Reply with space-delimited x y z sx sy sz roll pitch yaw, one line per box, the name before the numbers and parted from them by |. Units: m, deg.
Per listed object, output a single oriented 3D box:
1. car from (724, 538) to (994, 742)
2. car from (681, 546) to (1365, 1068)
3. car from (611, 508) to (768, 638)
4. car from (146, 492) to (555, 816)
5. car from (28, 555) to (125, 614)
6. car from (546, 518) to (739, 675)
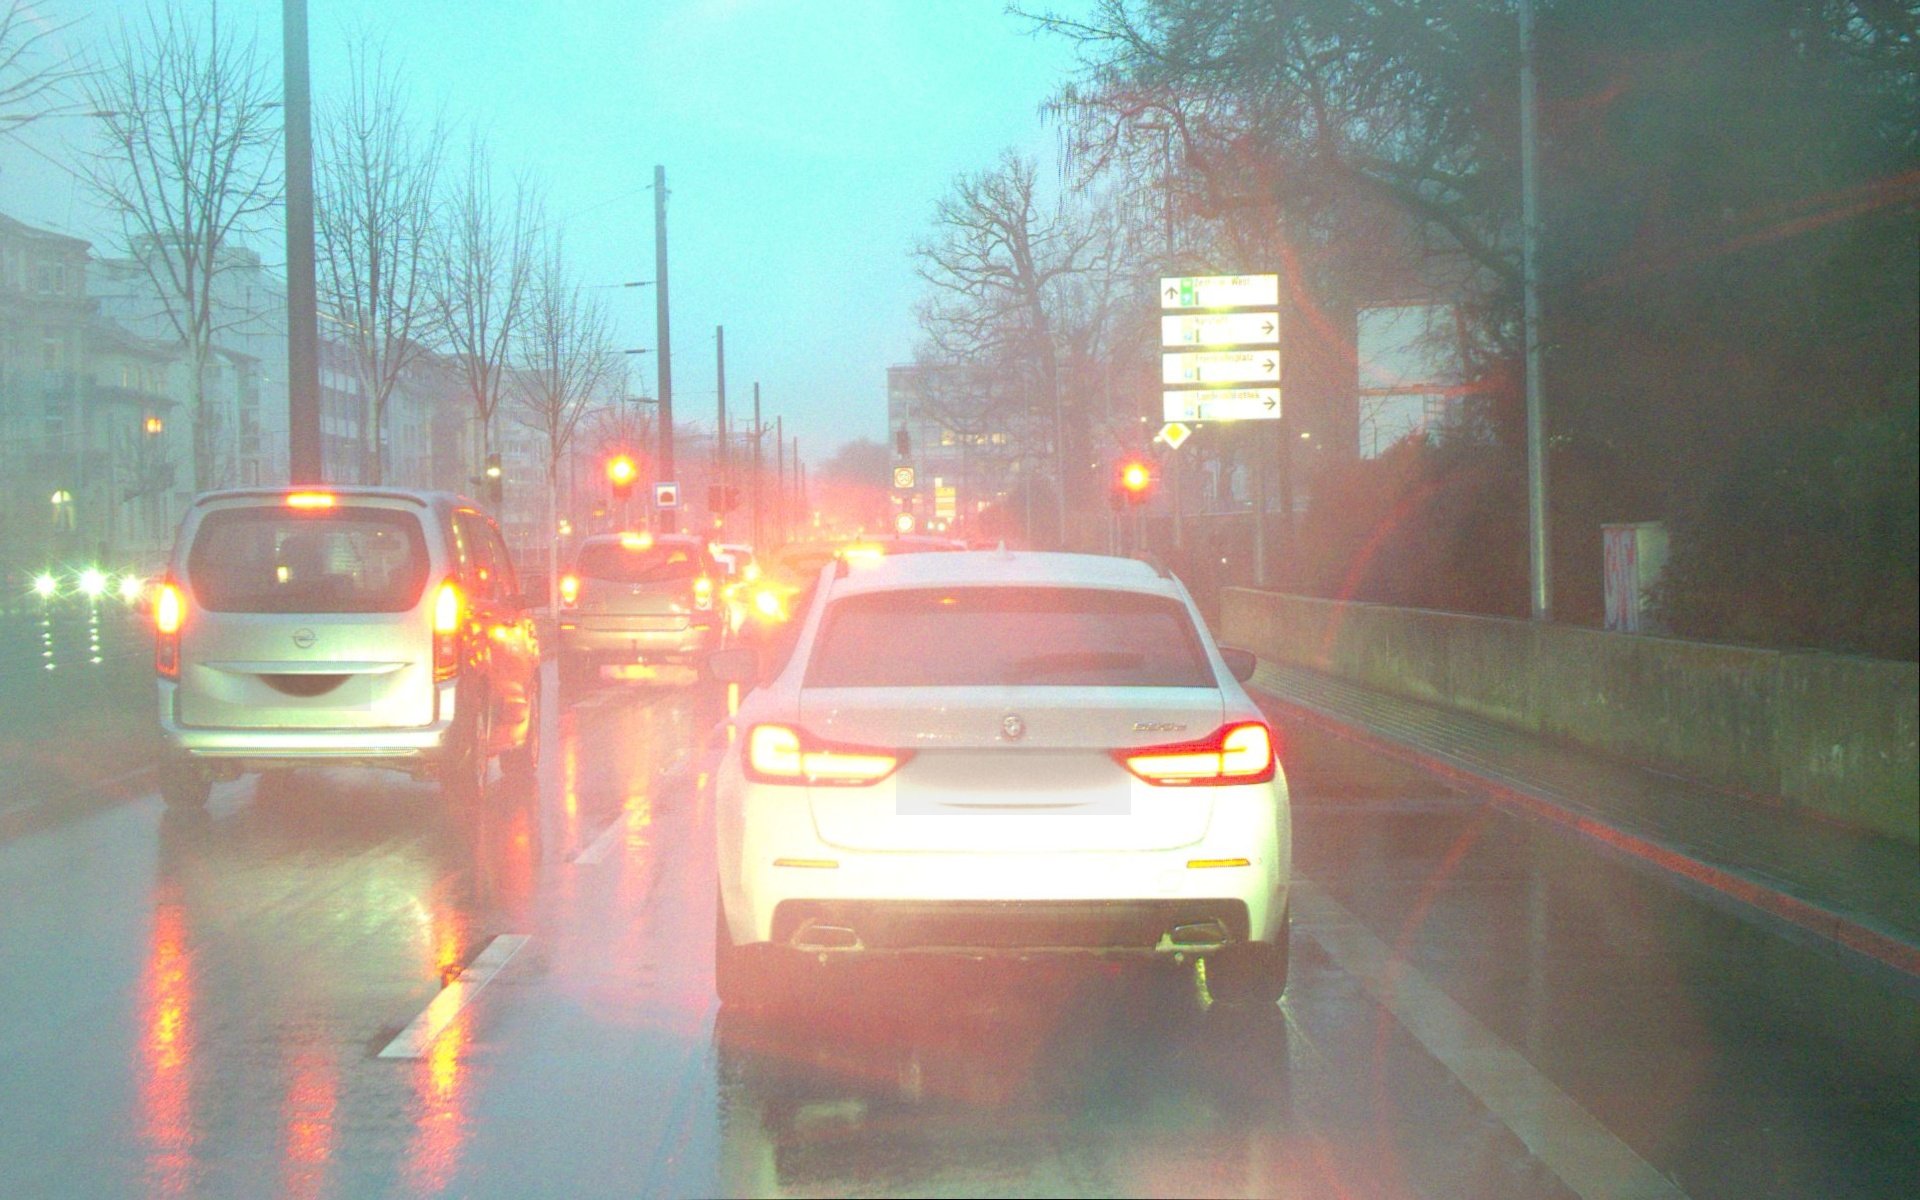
car | -0.754 0.249 26.800 1.936 1.452 4.164 0 1 -1
car | 0.158 0.571 12.130 1.999 1.503 4.164 0 1 -1
car | -3.774 -0.395 48.547 1.993 1.749 4.000 0 1 -1
car | -3.536 0.261 20.706 1.793 1.730 4.538 0 1 -2
car | -25.885 -0.475 100.867 1.895 1.628 4.581 -1 1 -3
car | -3.456 -0.077 38.015 1.806 1.640 4.000 0 1 -1
